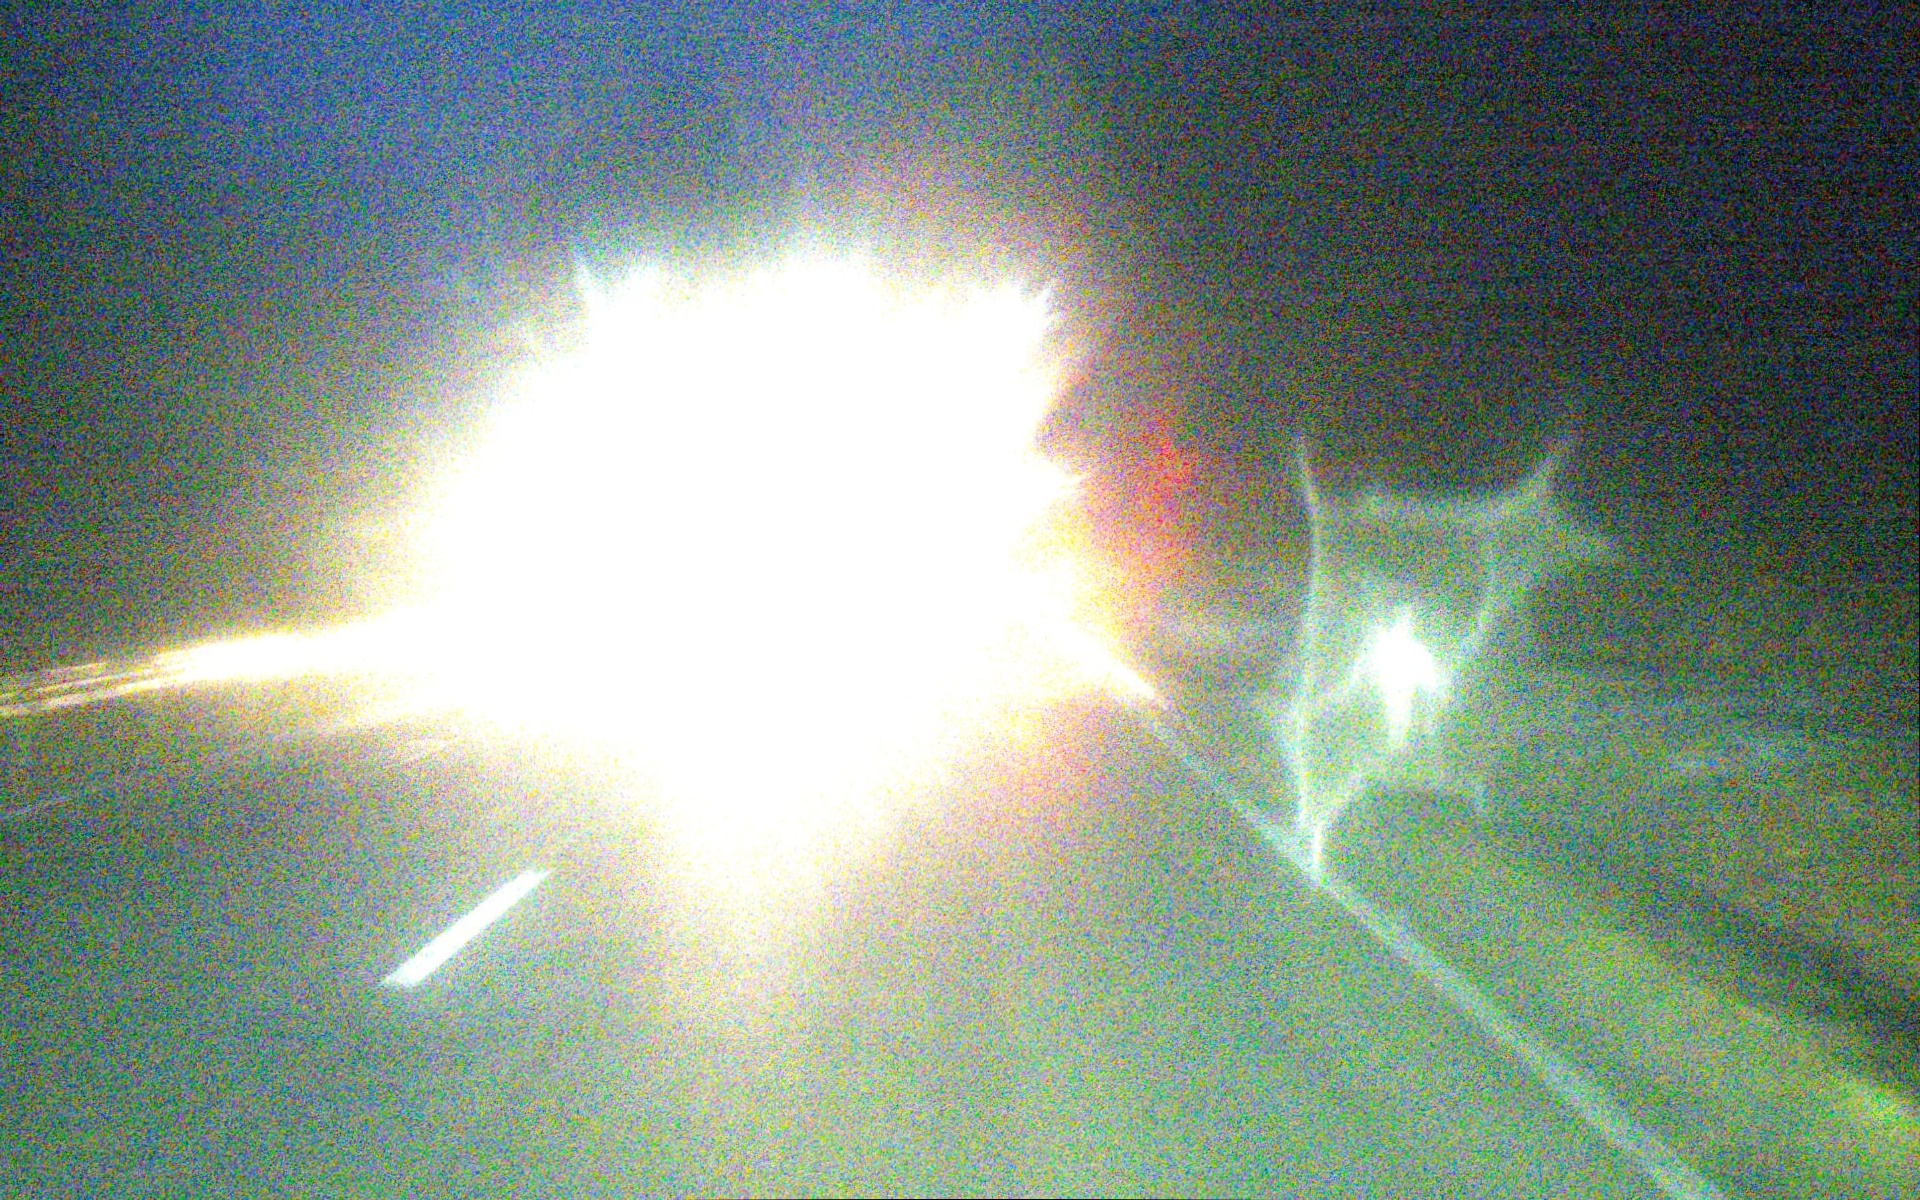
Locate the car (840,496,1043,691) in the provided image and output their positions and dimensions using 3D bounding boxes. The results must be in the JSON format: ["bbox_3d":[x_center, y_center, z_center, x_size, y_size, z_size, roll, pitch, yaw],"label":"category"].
[{"bbox_3d":[-0.218,-0.128,36.590,1.993,1.800,3.918,-2,3,-1],"label":"car"}]

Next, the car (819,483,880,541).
[{"bbox_3d":[-4.018,-3.214,125.269,1.993,1.775,4.001,-6,3,-1],"label":"car"}]

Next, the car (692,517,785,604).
[{"bbox_3d":[-4.600,-0.833,71.011,1.634,1.575,3.746,-2,3,-7],"label":"car"}]
